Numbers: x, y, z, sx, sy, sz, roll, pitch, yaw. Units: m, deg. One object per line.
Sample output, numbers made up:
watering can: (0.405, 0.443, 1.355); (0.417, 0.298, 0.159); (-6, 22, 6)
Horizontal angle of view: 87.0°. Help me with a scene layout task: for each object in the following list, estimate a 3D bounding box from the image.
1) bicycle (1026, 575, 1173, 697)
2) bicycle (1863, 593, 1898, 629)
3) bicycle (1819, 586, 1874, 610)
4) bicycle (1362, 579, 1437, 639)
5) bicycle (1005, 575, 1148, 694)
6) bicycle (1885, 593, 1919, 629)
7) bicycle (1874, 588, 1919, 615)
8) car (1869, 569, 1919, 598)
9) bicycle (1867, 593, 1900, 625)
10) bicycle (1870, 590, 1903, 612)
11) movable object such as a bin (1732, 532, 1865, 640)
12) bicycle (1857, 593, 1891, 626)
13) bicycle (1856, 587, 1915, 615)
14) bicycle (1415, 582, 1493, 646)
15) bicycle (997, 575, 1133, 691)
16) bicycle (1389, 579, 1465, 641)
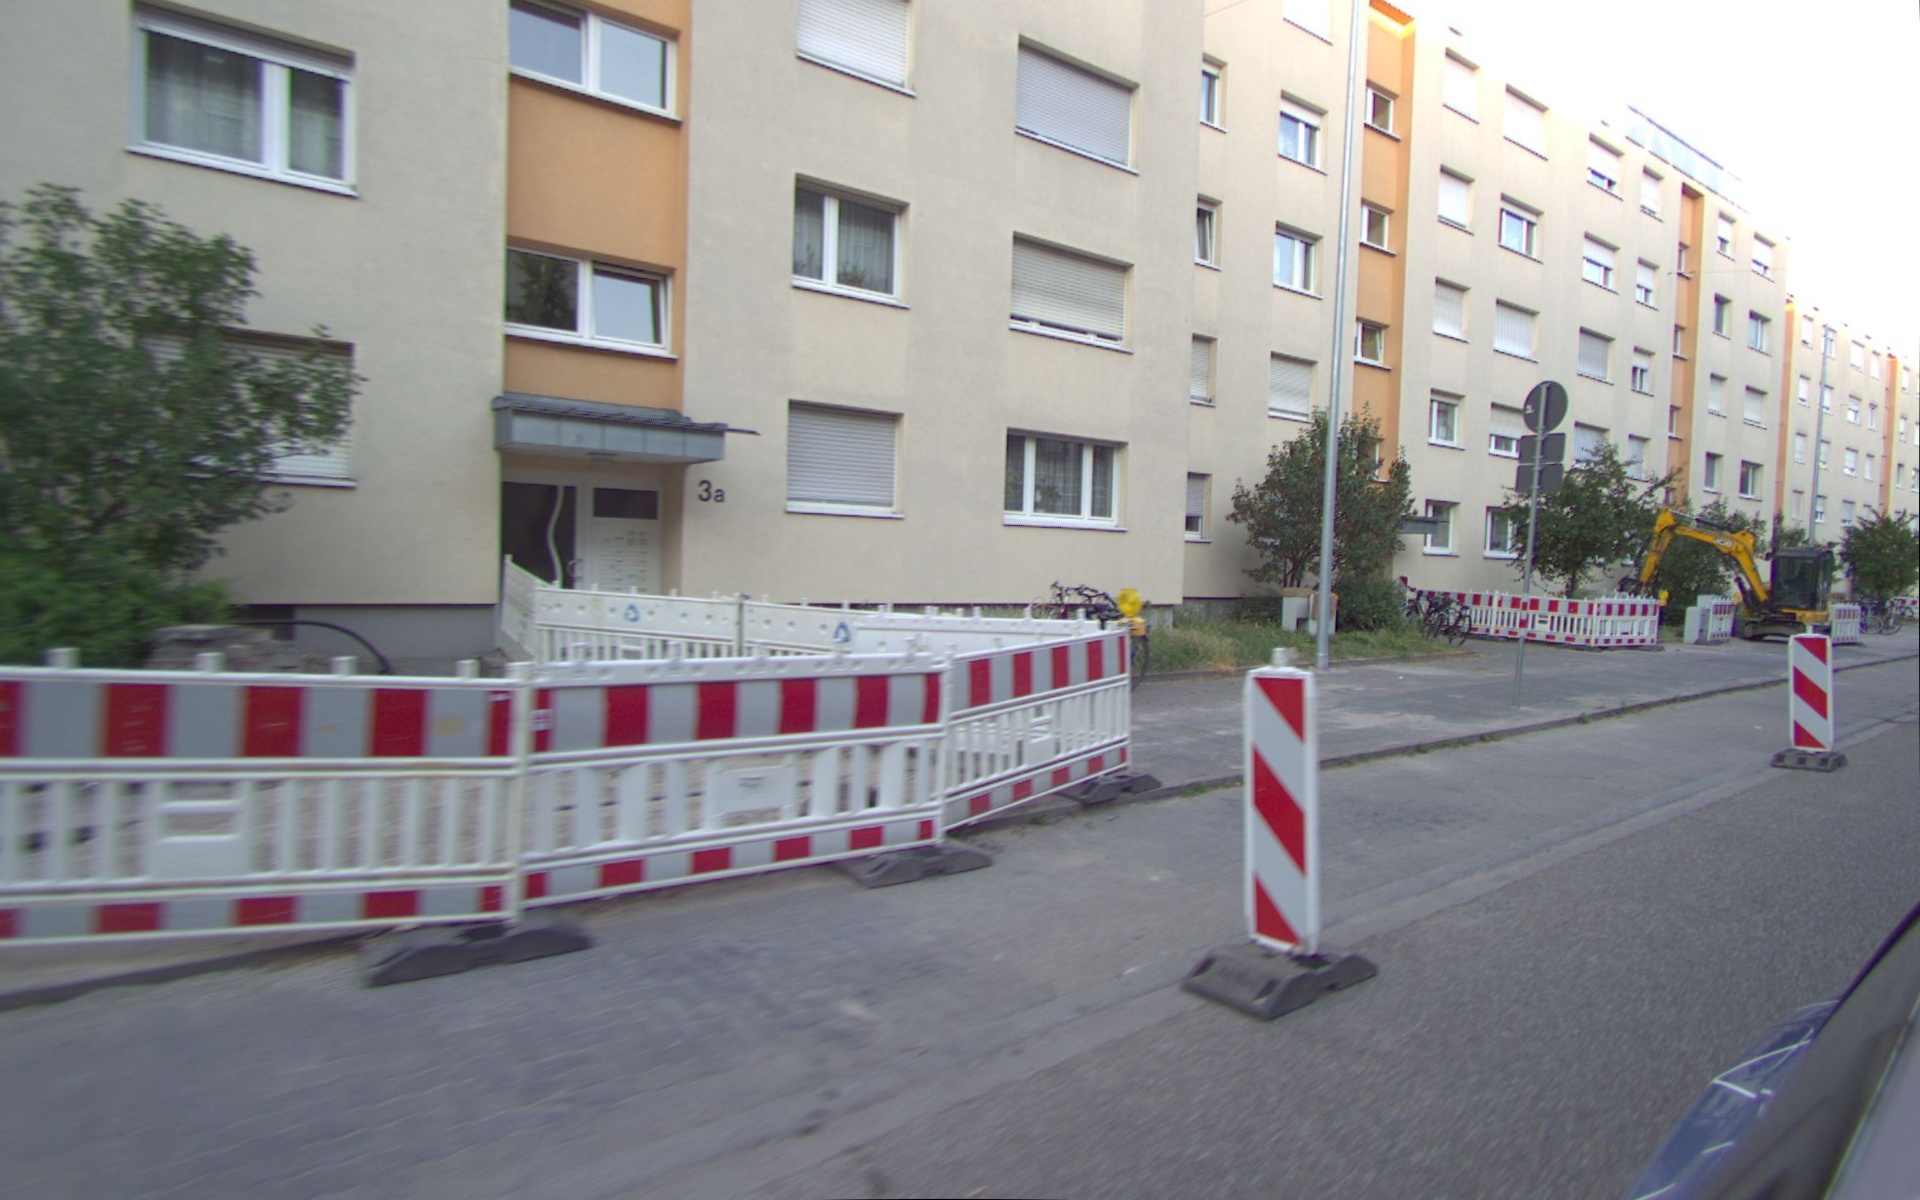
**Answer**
bicycle: (1.570, 0.357, 11.138); (1.878, 1.237, 0.452); (0, 2, -41)
bicycle: (32.610, 0.371, 35.873); (0.624, 1.186, 1.794); (2, 2, 35)
bicycle: (41.506, -0.104, 47.376); (1.789, 0.931, 0.556); (5, 6, 11)
bicycle: (9.091, 0.175, 20.908); (1.782, 1.186, 0.558); (0, 2, -36)
bicycle: (1.332, 0.351, 11.300); (1.878, 1.237, 0.398); (0, 2, -41)
bicycle: (33.312, 0.379, 35.772); (0.553, 1.186, 1.796); (2, 2, 31)
bicycle: (43.245, 0.075, 46.389); (0.547, 1.034, 1.818); (-1, 8, -37)
car: (73.703, -1.260, 77.904); (2.244, 2.156, 5.044); (0, 2, -30)
bicycle: (35.406, 0.326, 38.799); (1.782, 1.186, 0.558); (0, 2, -36)
bicycle: (43.757, 0.025, 47.791); (0.552, 0.874, 1.603); (7, 7, 23)
movable object such as a bin: (22.439, -0.398, 27.086); (2.836, 2.726, 1.941); (0, 2, -34)
bicycle: (33.871, 0.344, 37.497); (1.782, 1.186, 0.558); (0, 2, -36)
bicycle: (41.692, 0.040, 45.612); (0.546, 0.998, 1.763); (1, 7, -29)
bicycle: (9.561, 0.256, 19.580); (1.782, 1.186, 0.558); (0, 2, -36)
bicycle: (1.230, 0.344, 11.541); (1.794, 1.237, 0.398); (0, 2, -41)
bicycle: (9.420, 0.195, 20.401); (1.782, 1.186, 0.558); (0, 2, -36)
